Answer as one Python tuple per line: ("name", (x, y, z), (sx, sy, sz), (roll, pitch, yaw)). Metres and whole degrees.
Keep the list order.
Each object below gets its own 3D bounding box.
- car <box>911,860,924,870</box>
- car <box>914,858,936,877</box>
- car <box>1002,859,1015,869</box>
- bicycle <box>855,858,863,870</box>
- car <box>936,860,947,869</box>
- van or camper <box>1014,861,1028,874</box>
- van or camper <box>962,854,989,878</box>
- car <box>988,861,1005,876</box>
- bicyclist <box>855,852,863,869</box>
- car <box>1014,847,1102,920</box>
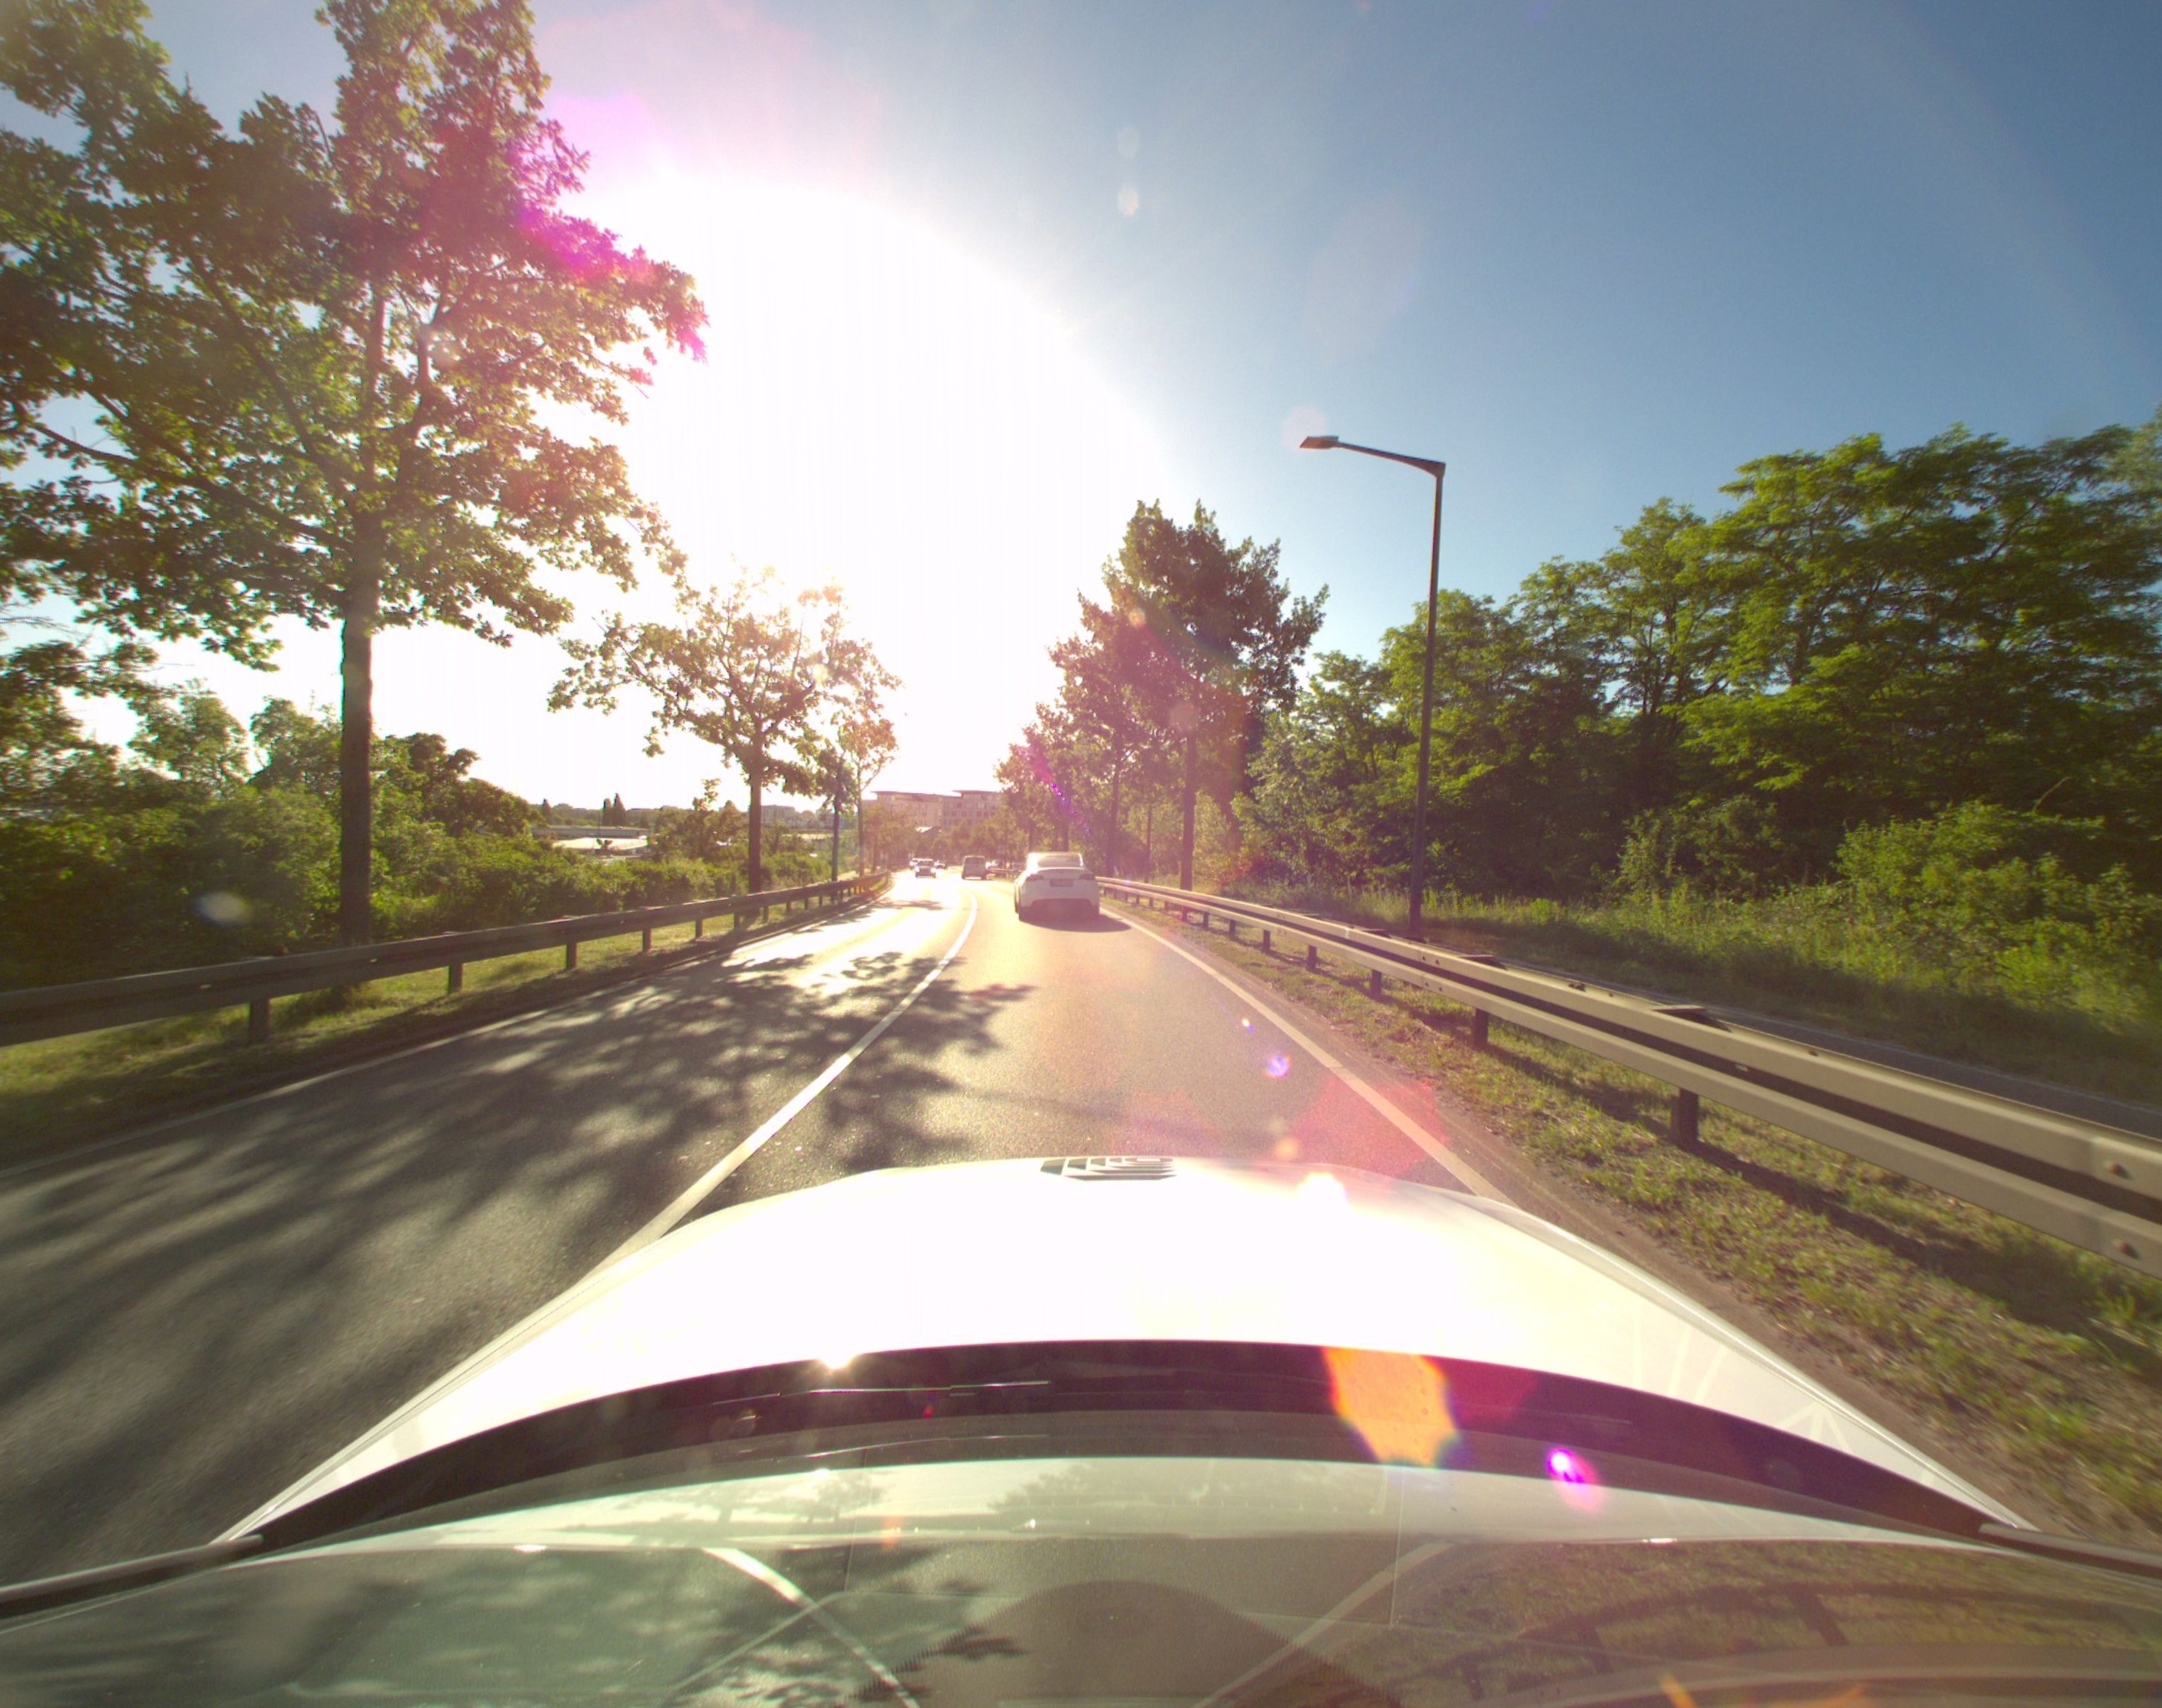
("car", (-23.087, 1.535, 114.922), (1.851, 1.492, 4.696), (0, 0, -12))
("car", (-13.549, 1.146, 70.765), (1.810, 1.554, 4.123), (0, 0, -12))
("car", (-14.287, 1.888, 160.144), (1.902, 1.802, 4.132), (2, 0, 3))
("bicycle", (-21.377, 0.928, 78.379), (0.661, 1.095, 2.099), (0, 0, -12))
("car", (-23.334, 1.689, 136.309), (1.692, 1.441, 4.200), (0, 0, -11))
("van or camper", (-9.847, 2.214, 133.954), (1.818, 1.790, 4.548), (3, 1, 3))
("van or camper", (-8.527, 0.917, 66.041), (1.955, 1.884, 4.871), (0, 0, -5))
("car", (-11.191, 1.890, 108.011), (1.906, 1.802, 4.124), (2, 0, -3))
("bicyclist", (-21.392, 0.617, 78.396), (0.652, 1.623, 0.870), (0, -1, -13))
("car", (-0.686, 0.671, 20.476), (1.911, 1.641, 4.401), (0, 0, -6))
